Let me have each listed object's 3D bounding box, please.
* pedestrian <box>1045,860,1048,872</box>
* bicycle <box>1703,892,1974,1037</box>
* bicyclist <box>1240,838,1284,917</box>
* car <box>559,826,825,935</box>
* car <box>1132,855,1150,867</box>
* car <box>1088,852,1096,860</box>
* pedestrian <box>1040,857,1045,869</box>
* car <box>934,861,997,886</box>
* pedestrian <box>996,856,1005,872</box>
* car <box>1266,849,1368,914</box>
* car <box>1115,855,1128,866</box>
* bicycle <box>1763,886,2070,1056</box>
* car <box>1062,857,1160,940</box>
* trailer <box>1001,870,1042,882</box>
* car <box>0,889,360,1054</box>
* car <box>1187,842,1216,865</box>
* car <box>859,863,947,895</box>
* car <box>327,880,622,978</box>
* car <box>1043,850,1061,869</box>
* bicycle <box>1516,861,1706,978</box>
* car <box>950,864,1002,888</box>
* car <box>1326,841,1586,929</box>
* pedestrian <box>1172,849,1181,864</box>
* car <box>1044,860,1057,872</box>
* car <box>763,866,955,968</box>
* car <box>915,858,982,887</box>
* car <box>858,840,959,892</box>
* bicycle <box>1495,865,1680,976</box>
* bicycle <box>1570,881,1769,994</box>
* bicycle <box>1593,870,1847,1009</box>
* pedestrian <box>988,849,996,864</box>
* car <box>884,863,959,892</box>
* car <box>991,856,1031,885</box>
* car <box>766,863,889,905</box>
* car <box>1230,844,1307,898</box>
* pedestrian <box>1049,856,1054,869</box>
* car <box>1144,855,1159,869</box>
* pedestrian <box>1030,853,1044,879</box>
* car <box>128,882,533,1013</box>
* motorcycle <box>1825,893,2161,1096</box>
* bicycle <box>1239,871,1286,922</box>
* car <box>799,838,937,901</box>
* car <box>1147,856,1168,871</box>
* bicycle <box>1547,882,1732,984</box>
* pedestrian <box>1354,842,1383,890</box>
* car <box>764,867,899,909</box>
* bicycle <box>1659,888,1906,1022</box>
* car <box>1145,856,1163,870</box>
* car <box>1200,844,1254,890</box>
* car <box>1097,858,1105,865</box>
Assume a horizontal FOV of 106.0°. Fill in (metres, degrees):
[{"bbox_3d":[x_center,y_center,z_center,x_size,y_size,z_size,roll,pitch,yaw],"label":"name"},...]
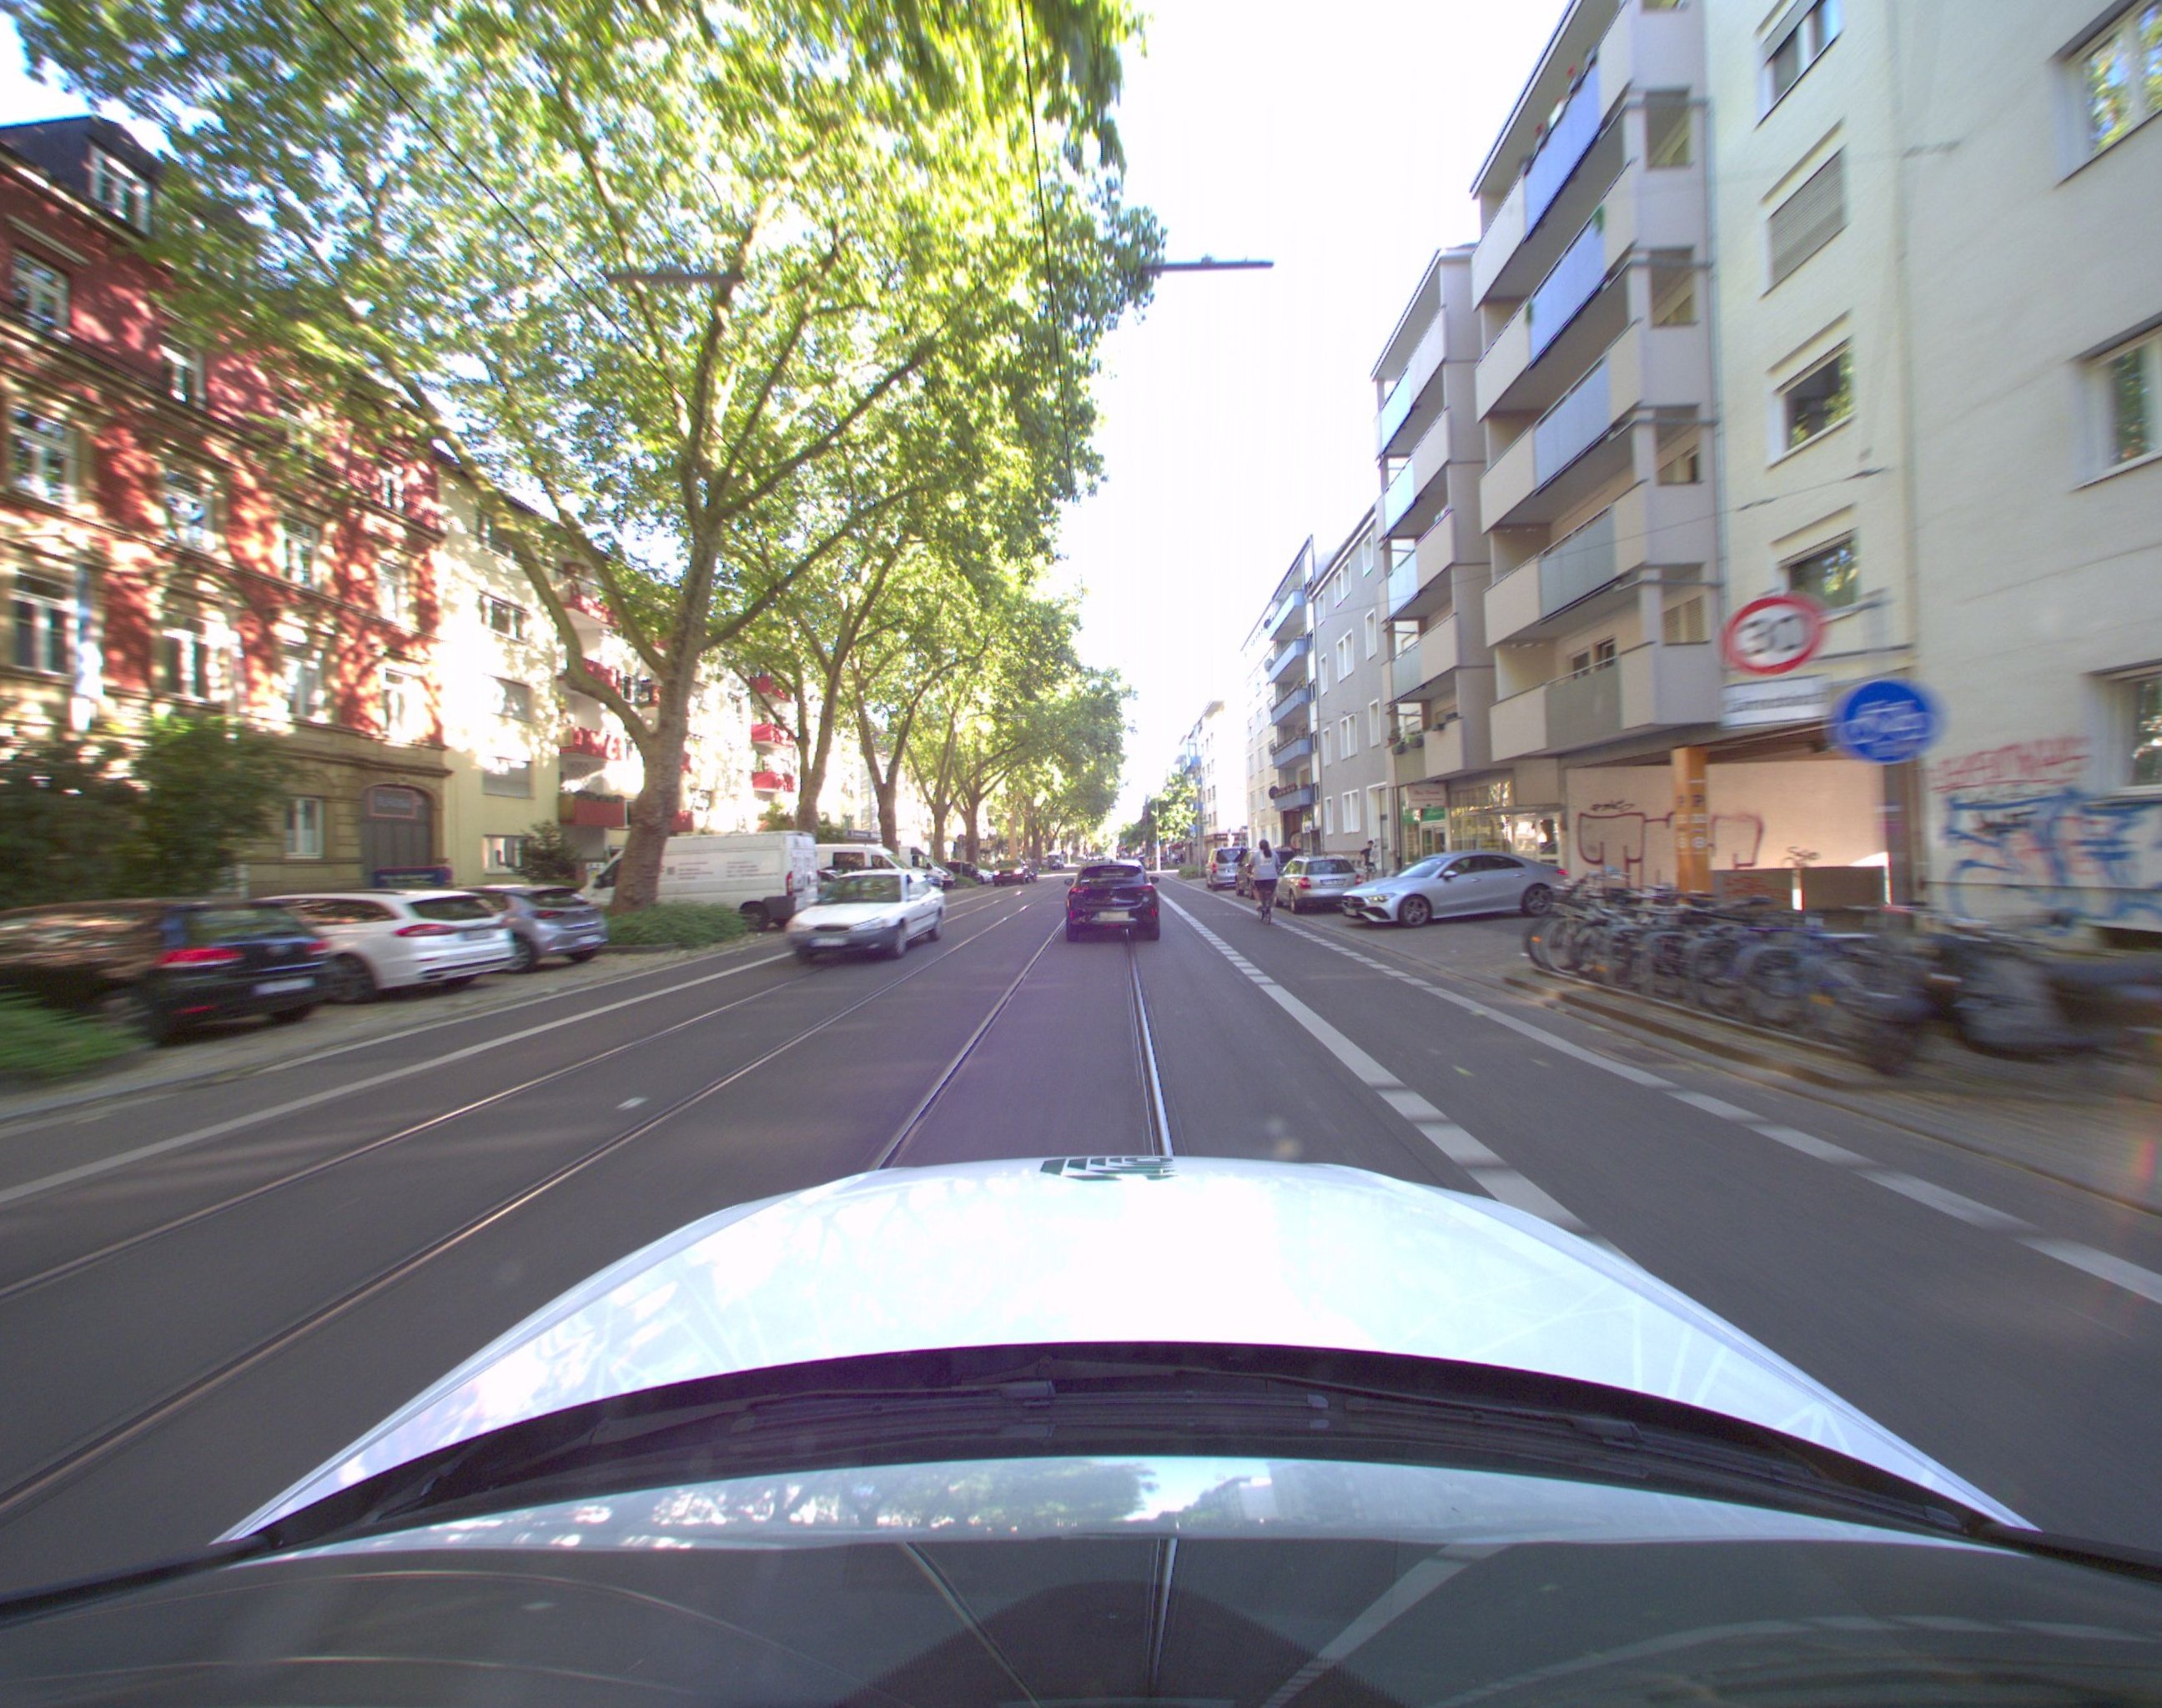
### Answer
[{"bbox_3d":[-4.398,1.548,103.863,0.345,1.583,0.508,-2,-1,0],"label":"pedestrian"},{"bbox_3d":[5.979,0.863,6.475,1.646,0.987,0.457,-4,-1,1],"label":"bicycle"},{"bbox_3d":[4.142,0.527,18.709,0.783,1.759,0.915,-2,-1,2],"label":"bicyclist"},{"bbox_3d":[-9.830,0.652,20.922,5.718,2.536,2.164,-1,0,2],"label":"car"},{"bbox_3d":[8.147,0.964,111.262,1.988,1.640,3.997,-2,0,-2],"label":"car"},{"bbox_3d":[3.044,0.574,227.233,1.988,2.211,5.098,-2,0,-2],"label":"car"},{"bbox_3d":[-4.869,1.158,103.233,0.505,1.583,0.526,-2,-1,-2],"label":"pedestrian"},{"bbox_3d":[-7.852,1.295,55.435,3.973,1.522,1.771,-2,0,0],"label":"car"},{"bbox_3d":[-9.445,1.143,95.500,0.903,1.869,0.643,-2,-1,-4],"label":"pedestrian"},{"bbox_3d":[6.256,0.669,22.101,1.717,1.525,4.517,-2,0,4],"label":"car"},{"bbox_3d":[6.339,1.022,127.333,1.850,1.651,4.004,-2,0,4],"label":"car"},{"bbox_3d":[5.981,0.822,5.874,1.646,1.055,0.457,-4,-1,1],"label":"bicycle"},{"bbox_3d":[0.576,0.776,15.824,1.673,1.422,3.629,0,0,2],"label":"car"},{"bbox_3d":[-4.195,1.548,58.344,2.152,0.632,6.403,-2,0,2],"label":"trailer"},{"bbox_3d":[-10.350,1.200,8.713,3.778,1.460,1.705,-2,0,2],"label":"car"},{"bbox_3d":[9.121,-0.026,62.003,1.850,1.651,4.004,-2,0,4],"label":"car"},{"bbox_3d":[-9.041,1.259,41.615,4.003,1.466,1.873,-2,0,2],"label":"car"},{"bbox_3d":[-10.235,1.234,13.918,3.791,1.432,1.706,-2,0,4],"label":"car"},{"bbox_3d":[-4.204,0.825,119.663,2.084,2.584,5.999,-2,0,2],"label":"car"},{"bbox_3d":[6.110,0.744,9.437,1.816,1.191,0.457,-4,-1,1],"label":"bicycle"},{"bbox_3d":[-7.330,1.513,57.126,3.420,1.530,1.786,-2,0,-1],"label":"car"},{"bbox_3d":[7.714,0.593,16.926,4.613,1.437,1.859,-4,0,-9],"label":"car"},{"bbox_3d":[11.462,0.286,97.875,0.761,1.748,0.799,-2,-1,20],"label":"pedestrian"},{"bbox_3d":[-4.223,1.653,113.514,1.749,1.508,3.998,-2,0,-1],"label":"car"},{"bbox_3d":[-3.568,0.946,14.042,1.710,1.359,4.476,-2,0,5],"label":"car"},{"bbox_3d":[-8.546,1.182,52.764,3.973,1.647,1.894,-2,0,0],"label":"car"},{"bbox_3d":[-9.300,0.653,44.262,4.929,2.567,2.081,-2,0,-1],"label":"car"},{"bbox_3d":[6.144,0.792,9.921,1.885,1.191,0.457,-4,-1,1],"label":"bicycle"},{"bbox_3d":[6.050,0.846,8.412,1.646,1.020,0.457,-4,-1,1],"label":"bicycle"},{"bbox_3d":[6.049,0.789,7.783,1.787,1.148,0.705,-4,0,2],"label":"bicycle"},{"bbox_3d":[-10.333,0.282,94.132,0.845,1.632,0.643,-2,-1,-4],"label":"pedestrian"},{"bbox_3d":[-9.165,1.344,47.047,3.841,1.478,1.861,-2,0,1],"label":"car"},{"bbox_3d":[-4.485,1.032,52.924,1.986,1.700,4.487,-4,0,2],"label":"car"},{"bbox_3d":[-10.260,1.198,33.145,4.354,1.539,1.873,-2,0,2],"label":"car"},{"bbox_3d":[6.467,0.566,28.575,1.760,1.705,4.284,-2,0,1],"label":"car"},{"bbox_3d":[-3.768,1.111,103.433,0.505,1.583,0.527,-2,-1,1],"label":"pedestrian"},{"bbox_3d":[8.351,0.894,96.553,1.644,1.574,3.087,-2,0,4],"label":"car"},{"bbox_3d":[-2.976,0.804,54.629,0.712,1.735,0.909,-3,0,-12],"label":"pedestrian"},{"bbox_3d":[-10.256,1.238,11.356,3.971,1.496,1.831,-2,0,2],"label":"car"},{"bbox_3d":[5.833,0.815,4.937,1.801,1.080,0.621,-3,-1,25],"label":"motorcycle"},{"bbox_3d":[4.163,0.957,18.780,0.698,1.092,1.991,0,-1,2],"label":"bicycle"},{"bbox_3d":[-9.166,0.647,35.342,5.339,2.477,2.058,-2,0,2],"label":"car"},{"bbox_3d":[8.180,1.009,87.019,1.713,1.574,4.082,-2,0,-2],"label":"car"},{"bbox_3d":[6.090,0.849,8.920,1.646,0.966,0.457,-4,-1,1],"label":"bicycle"},{"bbox_3d":[10.483,0.424,29.752,0.753,1.720,0.720,-2,0,1],"label":"pedestrian"},{"bbox_3d":[-9.324,1.269,30.655,4.393,1.384,1.934,-2,0,2],"label":"car"},{"bbox_3d":[5.996,0.852,7.009,1.646,0.987,0.457,-4,-1,1],"label":"bicycle"},{"bbox_3d":[8.237,1.056,92.465,1.712,1.490,3.682,-2,0,1],"label":"car"},{"bbox_3d":[6.617,0.557,37.351,1.850,1.890,4.929,-2,0,4],"label":"car"},{"bbox_3d":[4.752,1.753,195.193,1.742,1.651,4.004,-2,0,4],"label":"car"}]
